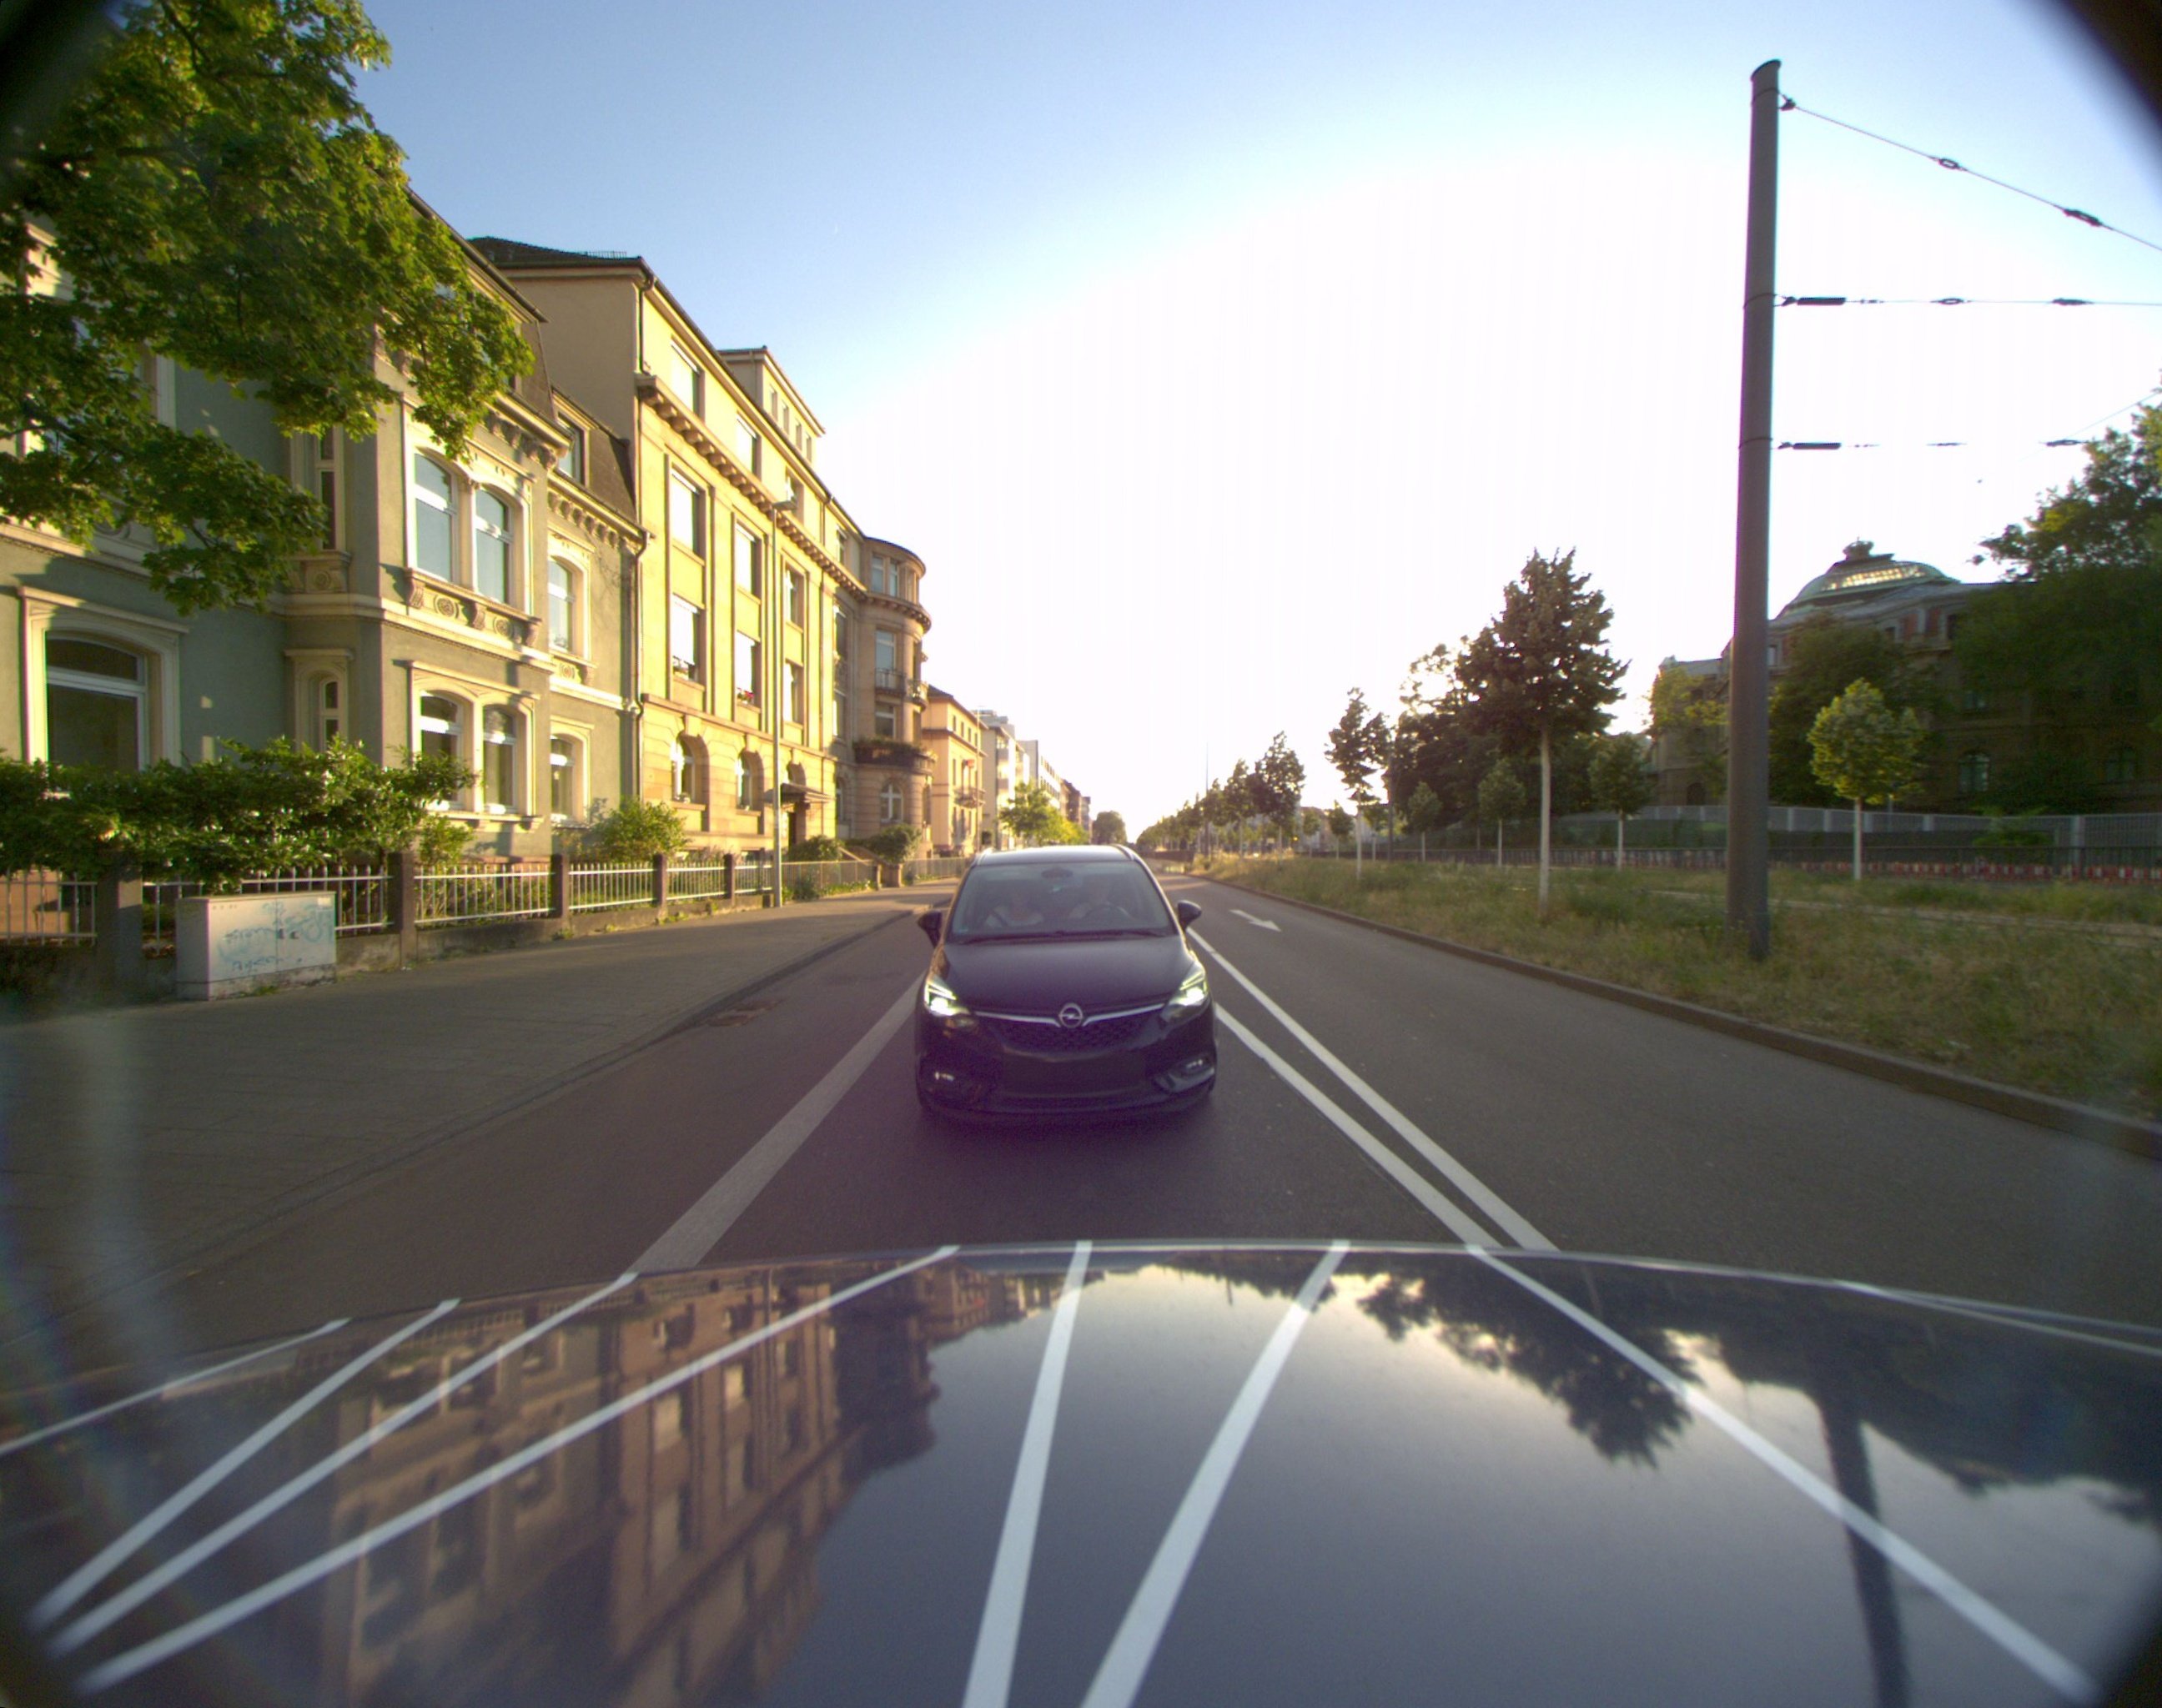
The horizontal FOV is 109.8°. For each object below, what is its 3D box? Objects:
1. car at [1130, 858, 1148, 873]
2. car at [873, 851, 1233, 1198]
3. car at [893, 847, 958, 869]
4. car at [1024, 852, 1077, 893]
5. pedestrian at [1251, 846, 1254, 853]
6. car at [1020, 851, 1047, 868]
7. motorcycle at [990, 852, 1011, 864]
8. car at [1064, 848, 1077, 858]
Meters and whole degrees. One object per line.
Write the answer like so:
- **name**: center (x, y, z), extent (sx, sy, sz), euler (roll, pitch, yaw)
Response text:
- **car**: center (6.249, 1.229, 81.674), extent (1.858, 1.425, 4.844), euler (-2, -1, 4)
- **car**: center (-0.262, 0.832, 6.211), extent (1.771, 1.649, 4.850), euler (-1, 1, -3)
- **car**: center (-11.014, 0.245, 53.939), extent (4.096, 1.472, 1.938), euler (-1, 1, 3)
- **car**: center (-1.121, 0.698, 29.777), extent (1.859, 1.425, 4.843), euler (-2, -1, -1)
- **pedestrian**: center (42.540, -1.202, 188.438), extent (0.646, 1.702, 0.838), euler (0, 1, 10)
- **car**: center (-3.854, 0.435, 62.866), extent (1.882, 1.394, 4.100), euler (-1, 0, 1)
- **motorcycle**: center (-7.465, 0.368, 70.268), extent (1.848, 1.090, 0.576), euler (-1, 1, 8)
- **car**: center (-1.595, -0.183, 121.694), extent (1.937, 1.472, 4.100), euler (-1, 0, 1)
